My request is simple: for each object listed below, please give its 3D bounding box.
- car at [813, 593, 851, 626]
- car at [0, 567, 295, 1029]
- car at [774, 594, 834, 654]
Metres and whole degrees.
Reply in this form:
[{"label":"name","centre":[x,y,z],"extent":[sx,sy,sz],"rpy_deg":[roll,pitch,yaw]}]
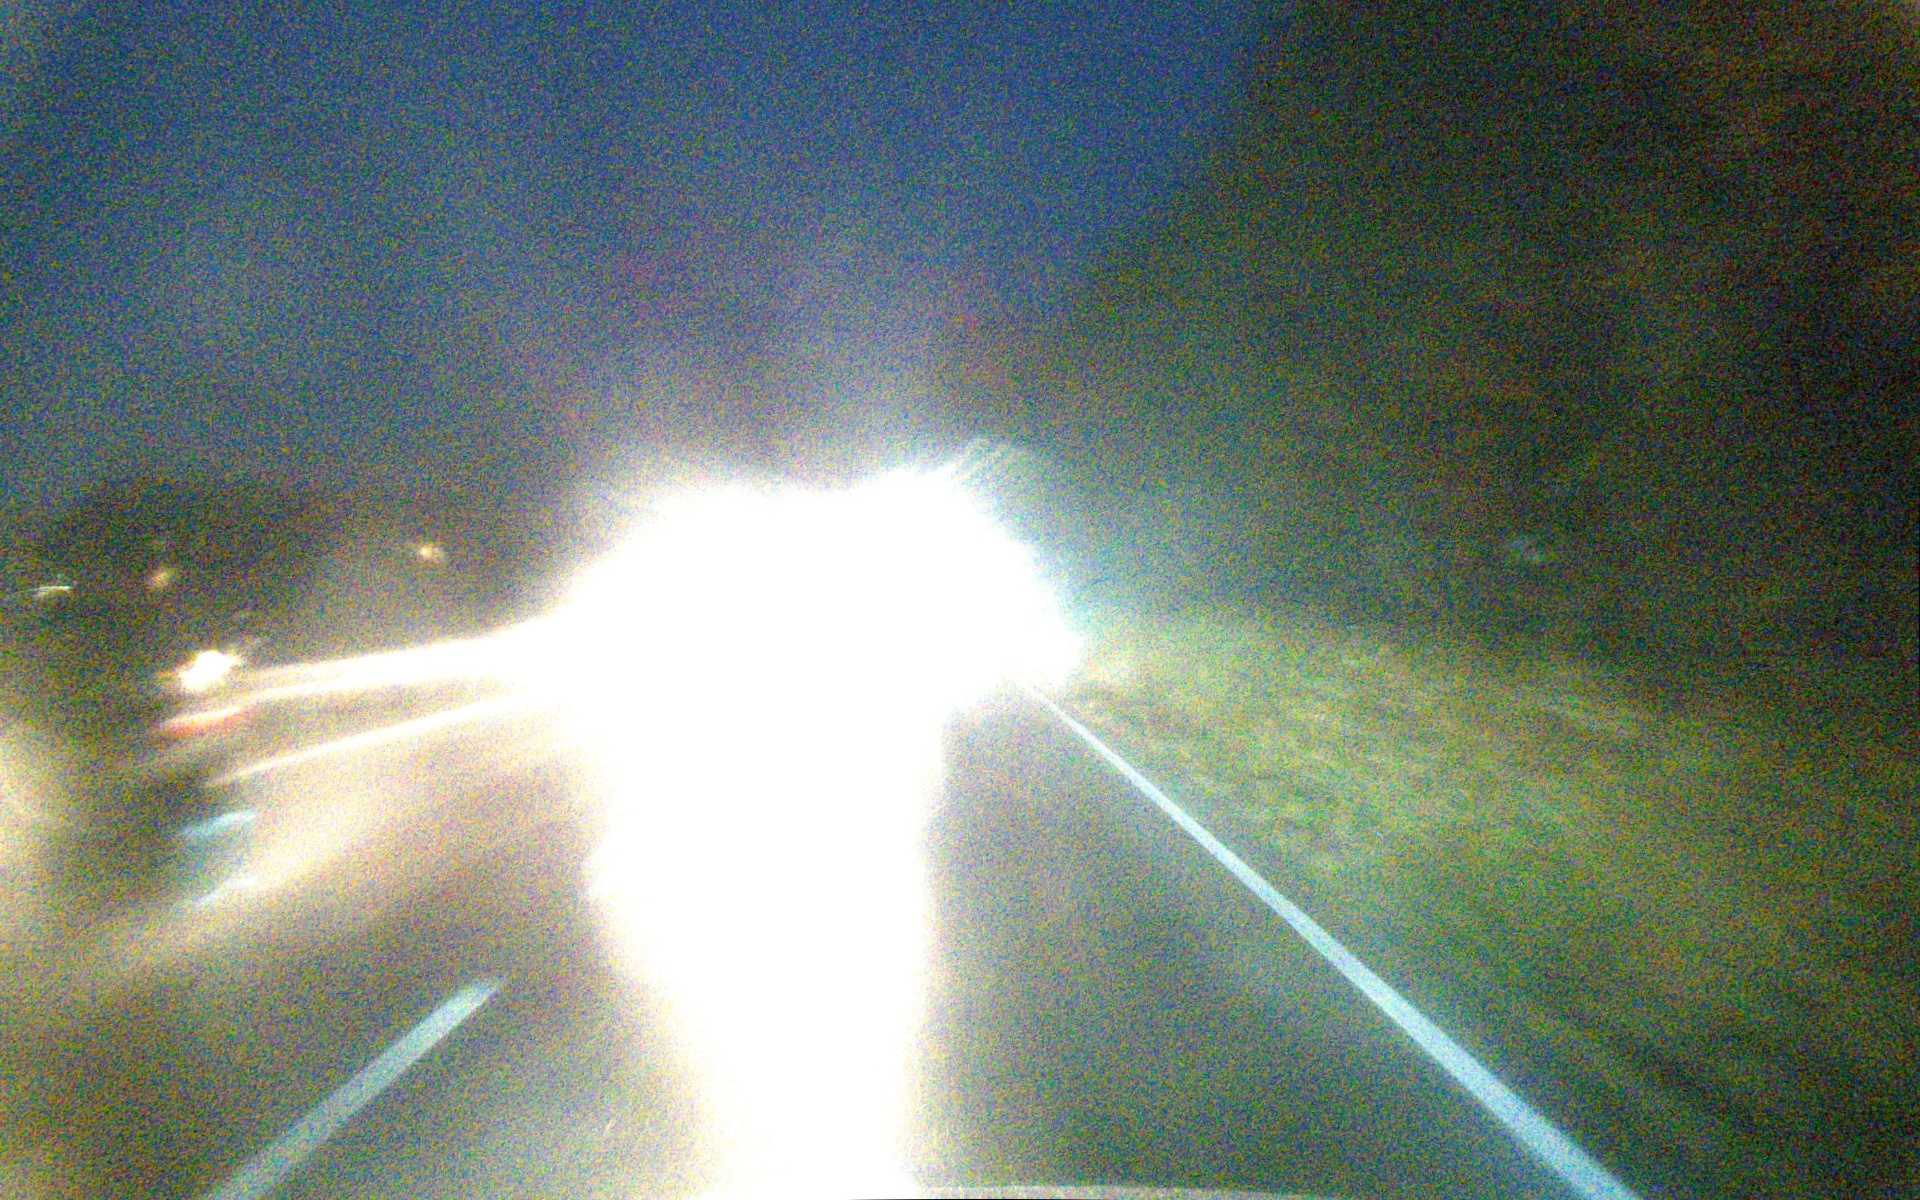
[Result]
[{"label":"car","centre":[-6.940,0.492,89.769],"extent":[1.888,1.733,3.998],"rpy_deg":[1,0,-3]},{"label":"car","centre":[-4.056,0.650,6.202],"extent":[1.659,1.546,3.861],"rpy_deg":[1,0,-2]},{"label":"car","centre":[-4.682,0.691,50.074],"extent":[1.453,1.644,3.560],"rpy_deg":[3,0,-1]}]
